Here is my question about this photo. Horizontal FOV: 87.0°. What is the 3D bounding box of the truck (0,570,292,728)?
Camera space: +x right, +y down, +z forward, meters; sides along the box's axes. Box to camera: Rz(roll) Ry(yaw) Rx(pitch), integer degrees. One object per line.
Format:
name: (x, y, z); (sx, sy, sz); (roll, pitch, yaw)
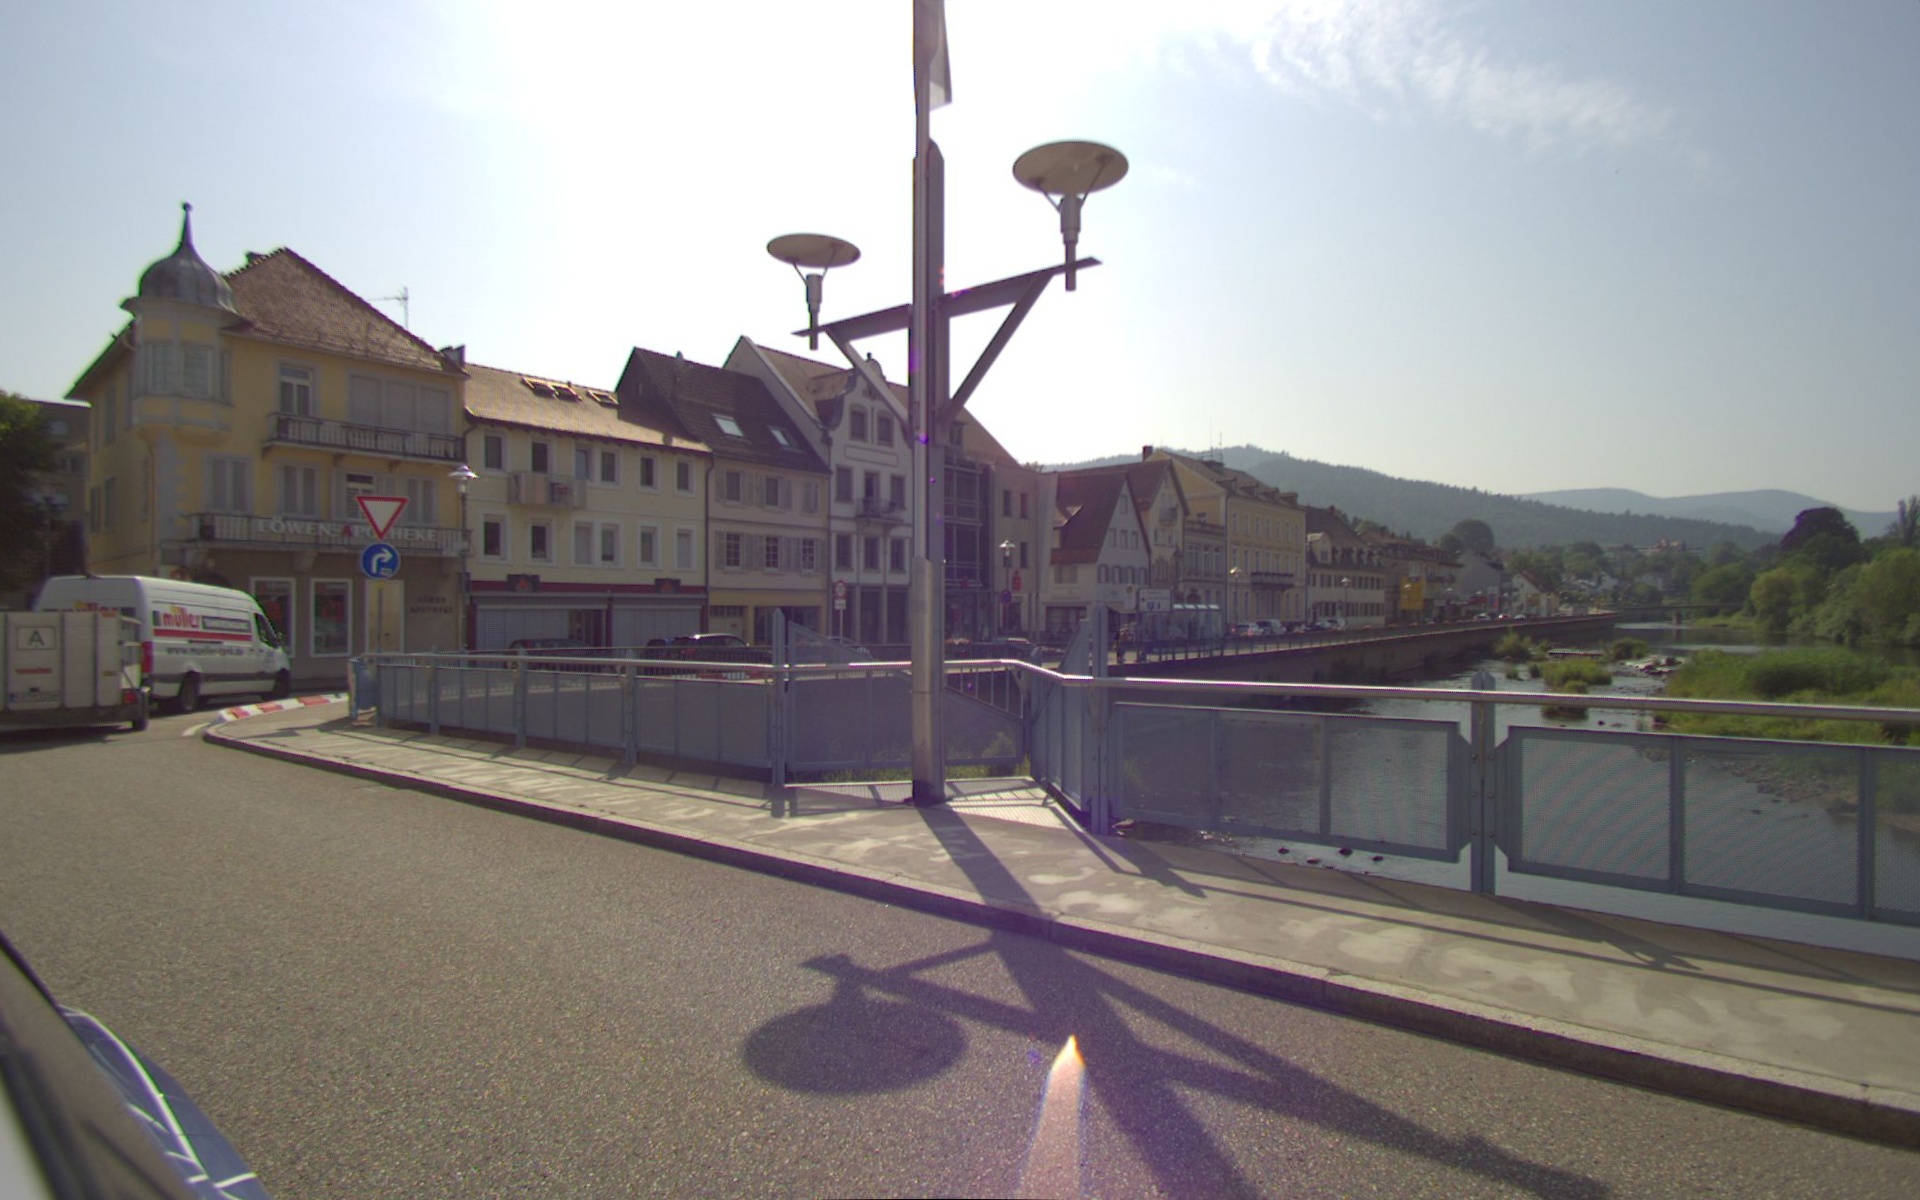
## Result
truck: (-16.594, 1.024, 21.256); (2.076, 2.720, 7.152); (-1, -3, -15)

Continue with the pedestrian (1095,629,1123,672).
pedestrian: (6.155, 2.075, 41.788); (0.869, 1.719, 0.767); (-1, -2, 40)

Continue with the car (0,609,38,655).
car: (-41.709, 1.342, 41.815); (1.994, 1.905, 5.015); (-2, -2, 33)

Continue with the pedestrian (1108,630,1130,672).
pedestrian: (6.645, 2.116, 42.288); (0.791, 1.719, 0.485); (-1, -2, 40)

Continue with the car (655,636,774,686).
car: (-8.734, 2.123, 36.244); (1.682, 1.572, 3.920); (-2, -1, 38)

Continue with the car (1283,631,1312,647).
car: (32.358, 3.734, 96.998); (1.749, 1.459, 3.236); (-2, -2, 36)

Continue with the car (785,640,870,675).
car: (-5.991, 2.593, 46.173); (1.749, 1.459, 3.748); (-2, -2, 36)

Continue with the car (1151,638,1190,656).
car: (15.444, 3.448, 74.230); (1.566, 1.229, 3.236); (-2, -2, 36)

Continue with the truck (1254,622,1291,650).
truck: (28.699, 3.318, 92.810); (1.749, 2.487, 4.604); (-2, -2, 36)

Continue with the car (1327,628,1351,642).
car: (40.355, 3.684, 107.654); (1.516, 1.459, 3.236); (-2, -2, 36)

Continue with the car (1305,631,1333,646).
car: (36.145, 3.868, 101.815); (1.749, 1.459, 3.236); (-2, -2, 36)

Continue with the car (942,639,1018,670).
car: (1.045, 2.703, 50.578); (1.752, 1.367, 4.149); (-3, -1, 35)

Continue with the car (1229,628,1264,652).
car: (24.643, 3.406, 87.066); (1.749, 1.950, 3.533); (-2, -2, 36)

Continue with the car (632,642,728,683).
car: (-10.907, 2.412, 39.577); (1.749, 1.459, 3.236); (-2, -2, 36)

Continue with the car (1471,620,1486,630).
car: (77.527, 3.802, 151.312); (1.516, 1.459, 3.236); (-2, -2, 36)

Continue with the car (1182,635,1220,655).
car: (18.873, 3.497, 79.120); (1.749, 1.459, 3.236); (-2, -2, 36)

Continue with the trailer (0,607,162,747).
trailer: (-14.125, 1.118, 15.772); (2.577, 1.842, 5.648); (1, -3, -39)

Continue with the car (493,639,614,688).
car: (-14.199, 2.183, 35.468); (1.849, 1.580, 3.524); (-2, -2, 36)
